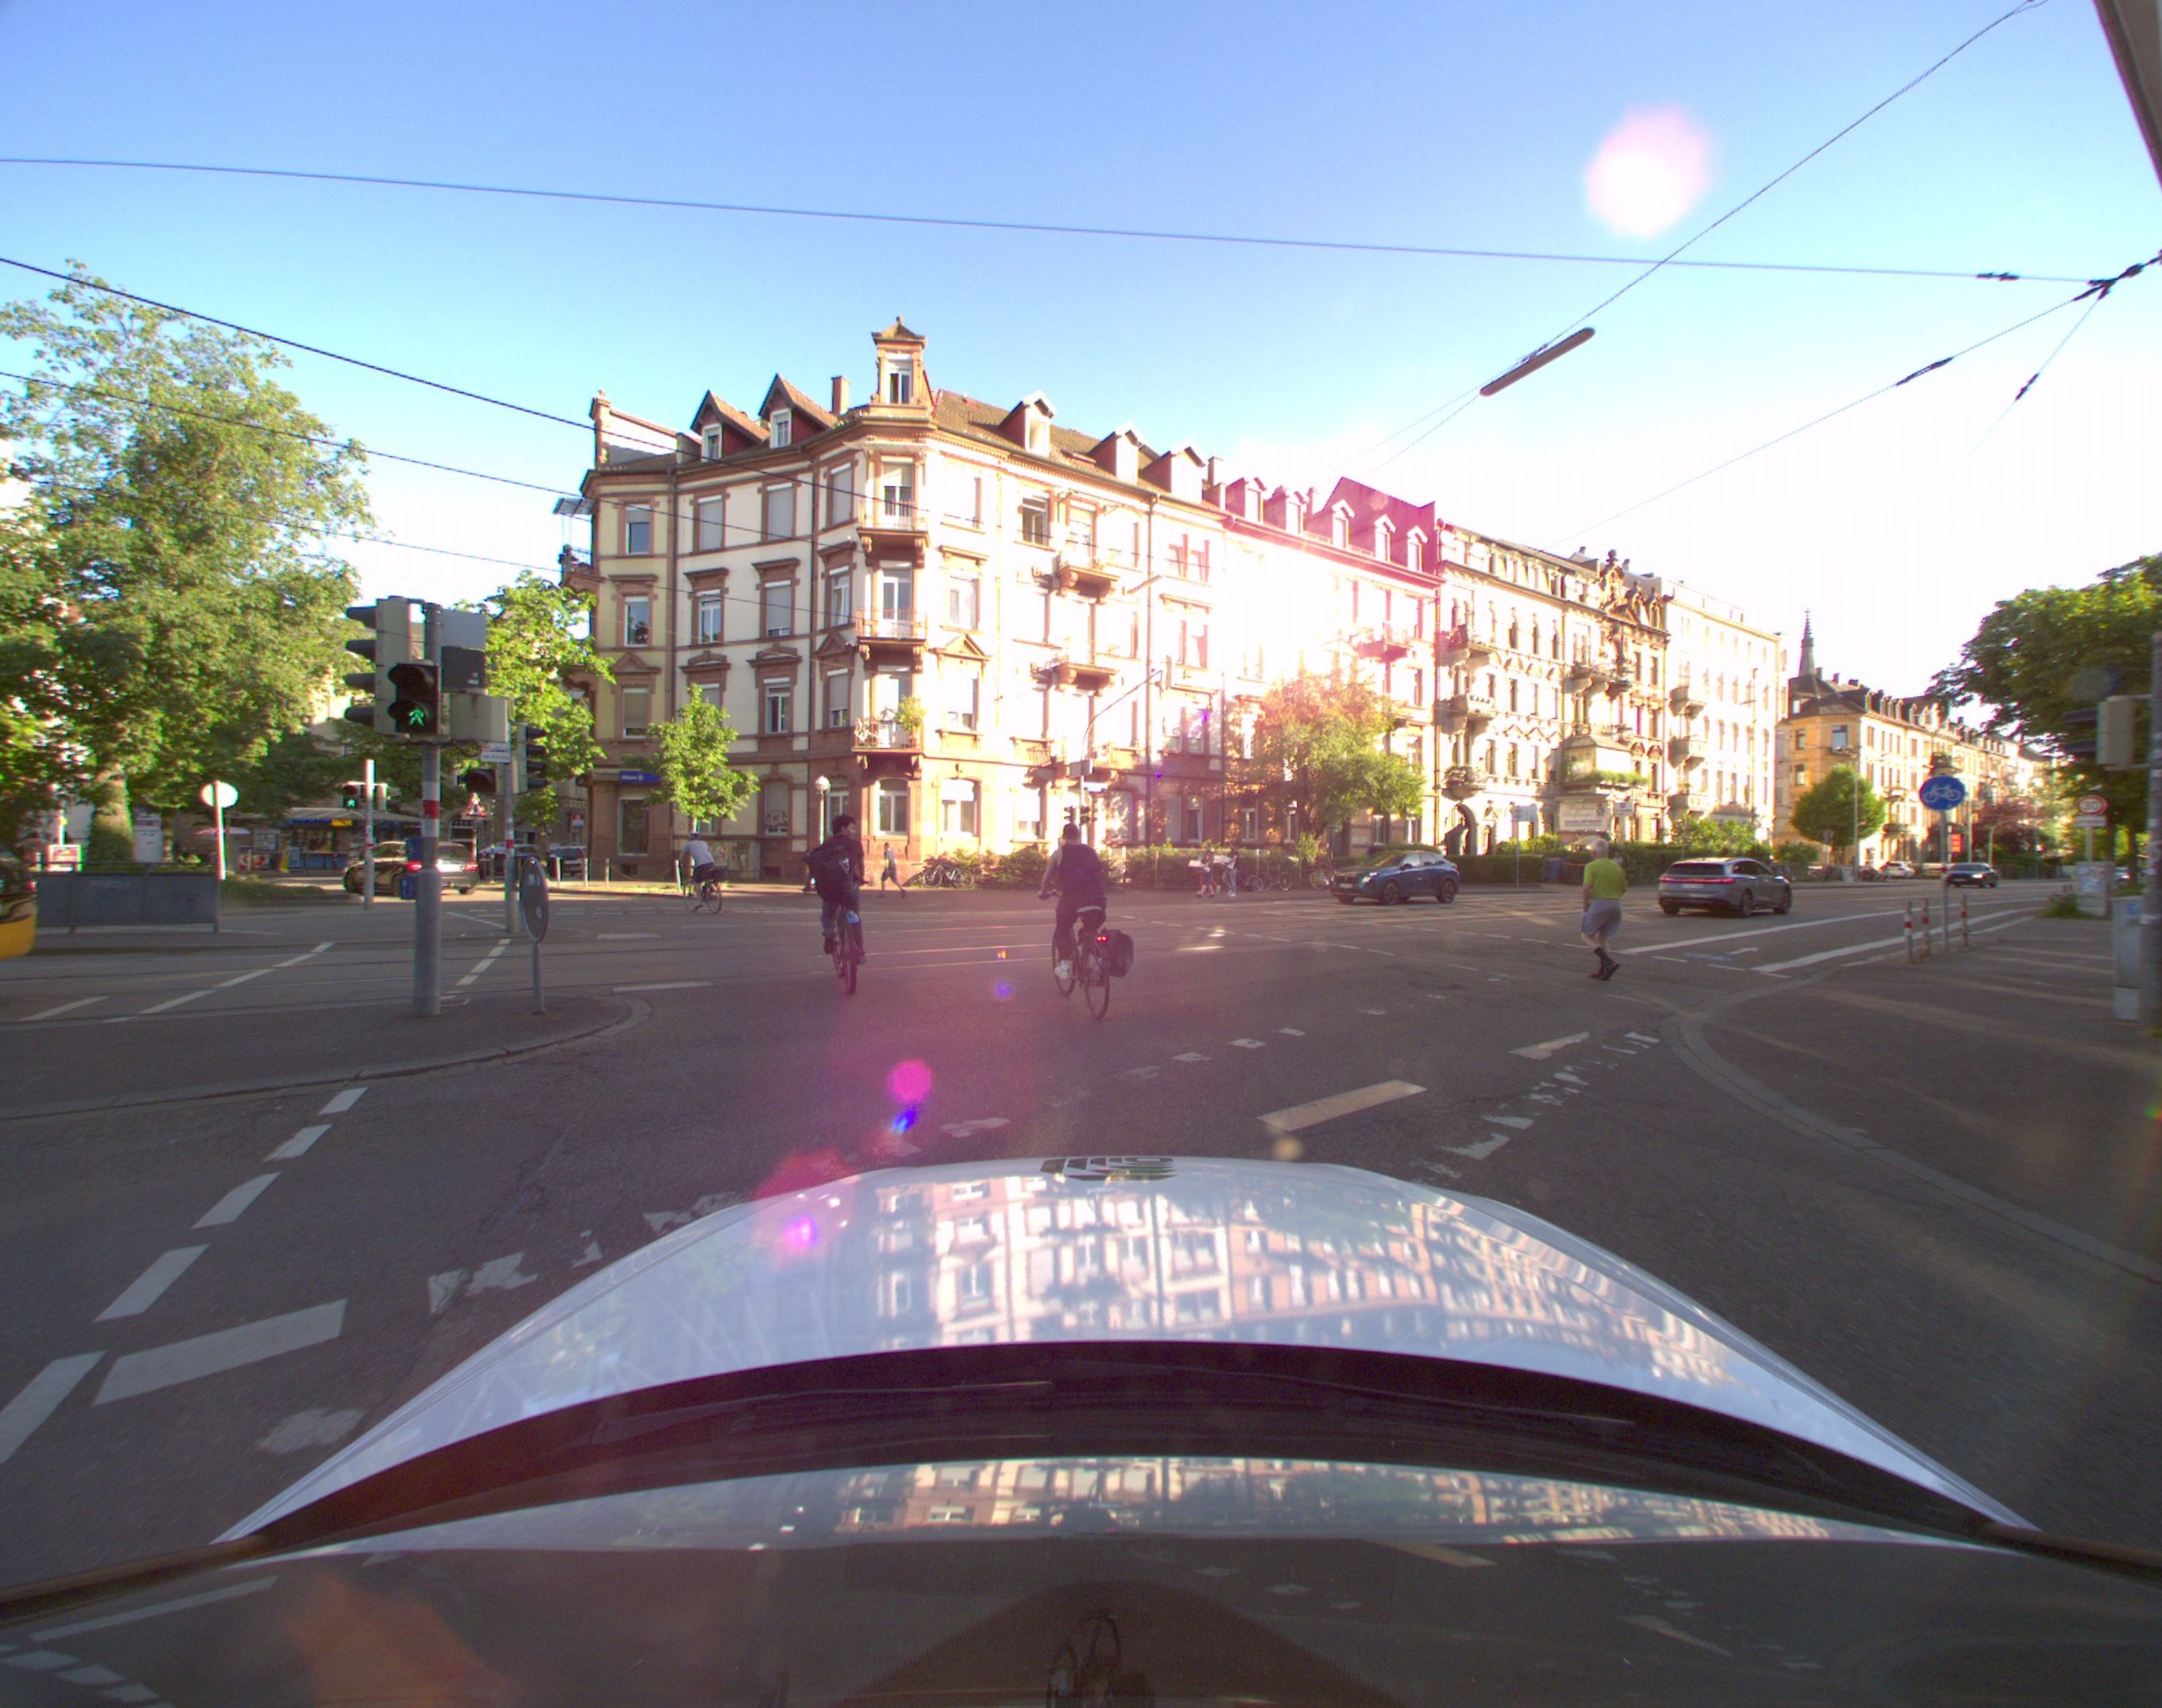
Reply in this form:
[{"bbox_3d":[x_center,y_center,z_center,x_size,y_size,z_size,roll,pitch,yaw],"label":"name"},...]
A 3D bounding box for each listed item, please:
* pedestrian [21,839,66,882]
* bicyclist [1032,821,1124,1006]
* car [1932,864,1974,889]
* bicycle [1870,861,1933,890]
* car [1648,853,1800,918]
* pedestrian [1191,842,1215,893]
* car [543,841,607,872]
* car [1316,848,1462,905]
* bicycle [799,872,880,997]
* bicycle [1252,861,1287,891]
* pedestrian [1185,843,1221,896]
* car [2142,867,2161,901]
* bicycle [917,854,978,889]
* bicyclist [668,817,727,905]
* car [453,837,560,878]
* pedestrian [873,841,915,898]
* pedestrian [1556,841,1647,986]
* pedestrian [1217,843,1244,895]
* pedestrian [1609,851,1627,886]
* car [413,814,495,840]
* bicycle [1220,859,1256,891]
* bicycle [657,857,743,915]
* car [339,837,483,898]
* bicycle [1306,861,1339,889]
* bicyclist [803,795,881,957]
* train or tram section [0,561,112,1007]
[{"bbox_3d":[-43.289,0.262,33.983,0.881,1.750,0.714,1,0,-10],"label":"pedestrian"},{"bbox_3d":[-0.053,0.532,7.837,0.687,1.656,0.985,0,-1,-13],"label":"bicyclist"},{"bbox_3d":[56.041,1.451,52.327,3.492,1.524,1.519,1,0,-37],"label":"car"},{"bbox_3d":[61.054,1.573,60.626,0.936,2.016,3.211,-1,1,-36],"label":"bicycle"},{"bbox_3d":[17.410,0.786,21.997,4.492,1.585,1.956,1,0,-34],"label":"car"},{"bbox_3d":[4.159,0.458,27.880,0.636,1.715,0.518,1,0,-18],"label":"pedestrian"},{"bbox_3d":[-24.811,0.099,40.058,1.500,1.457,3.197,1,0,-9],"label":"car"},{"bbox_3d":[9.602,0.674,25.299,4.424,1.650,1.929,1,-1,-31],"label":"car"},{"bbox_3d":[-2.567,0.771,8.601,0.719,1.107,1.955,1,0,-18],"label":"bicycle"},{"bbox_3d":[6.987,0.807,30.130,1.235,1.107,0.439,1,1,-25],"label":"bicycle"},{"bbox_3d":[3.912,0.496,26.230,0.896,1.664,0.709,1,3,-14],"label":"pedestrian"},{"bbox_3d":[47.070,1.294,35.045,3.852,1.440,1.536,1,0,-35],"label":"car"},{"bbox_3d":[-4.519,0.591,27.641,1.952,1.107,0.443,2,0,2],"label":"bicycle"},{"bbox_3d":[-8.574,0.152,18.212,0.933,1.913,0.802,1,0,37],"label":"bicyclist"},{"bbox_3d":[-24.288,0.149,34.654,1.789,1.611,4.360,1,0,-6],"label":"car"},{"bbox_3d":[-5.564,0.437,24.250,0.893,1.634,0.730,3,2,27],"label":"pedestrian"},{"bbox_3d":[6.631,0.717,10.424,0.638,1.727,0.892,3,2,14],"label":"pedestrian"},{"bbox_3d":[4.982,0.499,27.135,0.636,1.715,0.660,1,0,-18],"label":"pedestrian"},{"bbox_3d":[25.577,0.691,38.815,0.495,1.641,0.522,1,0,-20],"label":"pedestrian"},{"bbox_3d":[-42.677,-1.833,55.495,3.984,1.647,1.874,1,0,-8],"label":"car"},{"bbox_3d":[5.689,0.755,29.538,1.235,1.107,0.439,0,1,-25],"label":"bicycle"},{"bbox_3d":[-8.516,0.679,18.166,2.198,1.185,0.818,1,0,38],"label":"bicycle"},{"bbox_3d":[-19.052,0.362,23.157,3.811,1.542,1.806,1,-1,29],"label":"car"},{"bbox_3d":[9.308,0.809,31.330,1.236,1.038,0.439,1,1,-27],"label":"bicycle"},{"bbox_3d":[-2.500,0.216,8.505,0.708,1.573,0.951,1,0,-18],"label":"bicyclist"},{"bbox_3d":[-13.995,-0.641,3.793,11.839,3.619,2.773,1,0,-32],"label":"train or tram section"}]
